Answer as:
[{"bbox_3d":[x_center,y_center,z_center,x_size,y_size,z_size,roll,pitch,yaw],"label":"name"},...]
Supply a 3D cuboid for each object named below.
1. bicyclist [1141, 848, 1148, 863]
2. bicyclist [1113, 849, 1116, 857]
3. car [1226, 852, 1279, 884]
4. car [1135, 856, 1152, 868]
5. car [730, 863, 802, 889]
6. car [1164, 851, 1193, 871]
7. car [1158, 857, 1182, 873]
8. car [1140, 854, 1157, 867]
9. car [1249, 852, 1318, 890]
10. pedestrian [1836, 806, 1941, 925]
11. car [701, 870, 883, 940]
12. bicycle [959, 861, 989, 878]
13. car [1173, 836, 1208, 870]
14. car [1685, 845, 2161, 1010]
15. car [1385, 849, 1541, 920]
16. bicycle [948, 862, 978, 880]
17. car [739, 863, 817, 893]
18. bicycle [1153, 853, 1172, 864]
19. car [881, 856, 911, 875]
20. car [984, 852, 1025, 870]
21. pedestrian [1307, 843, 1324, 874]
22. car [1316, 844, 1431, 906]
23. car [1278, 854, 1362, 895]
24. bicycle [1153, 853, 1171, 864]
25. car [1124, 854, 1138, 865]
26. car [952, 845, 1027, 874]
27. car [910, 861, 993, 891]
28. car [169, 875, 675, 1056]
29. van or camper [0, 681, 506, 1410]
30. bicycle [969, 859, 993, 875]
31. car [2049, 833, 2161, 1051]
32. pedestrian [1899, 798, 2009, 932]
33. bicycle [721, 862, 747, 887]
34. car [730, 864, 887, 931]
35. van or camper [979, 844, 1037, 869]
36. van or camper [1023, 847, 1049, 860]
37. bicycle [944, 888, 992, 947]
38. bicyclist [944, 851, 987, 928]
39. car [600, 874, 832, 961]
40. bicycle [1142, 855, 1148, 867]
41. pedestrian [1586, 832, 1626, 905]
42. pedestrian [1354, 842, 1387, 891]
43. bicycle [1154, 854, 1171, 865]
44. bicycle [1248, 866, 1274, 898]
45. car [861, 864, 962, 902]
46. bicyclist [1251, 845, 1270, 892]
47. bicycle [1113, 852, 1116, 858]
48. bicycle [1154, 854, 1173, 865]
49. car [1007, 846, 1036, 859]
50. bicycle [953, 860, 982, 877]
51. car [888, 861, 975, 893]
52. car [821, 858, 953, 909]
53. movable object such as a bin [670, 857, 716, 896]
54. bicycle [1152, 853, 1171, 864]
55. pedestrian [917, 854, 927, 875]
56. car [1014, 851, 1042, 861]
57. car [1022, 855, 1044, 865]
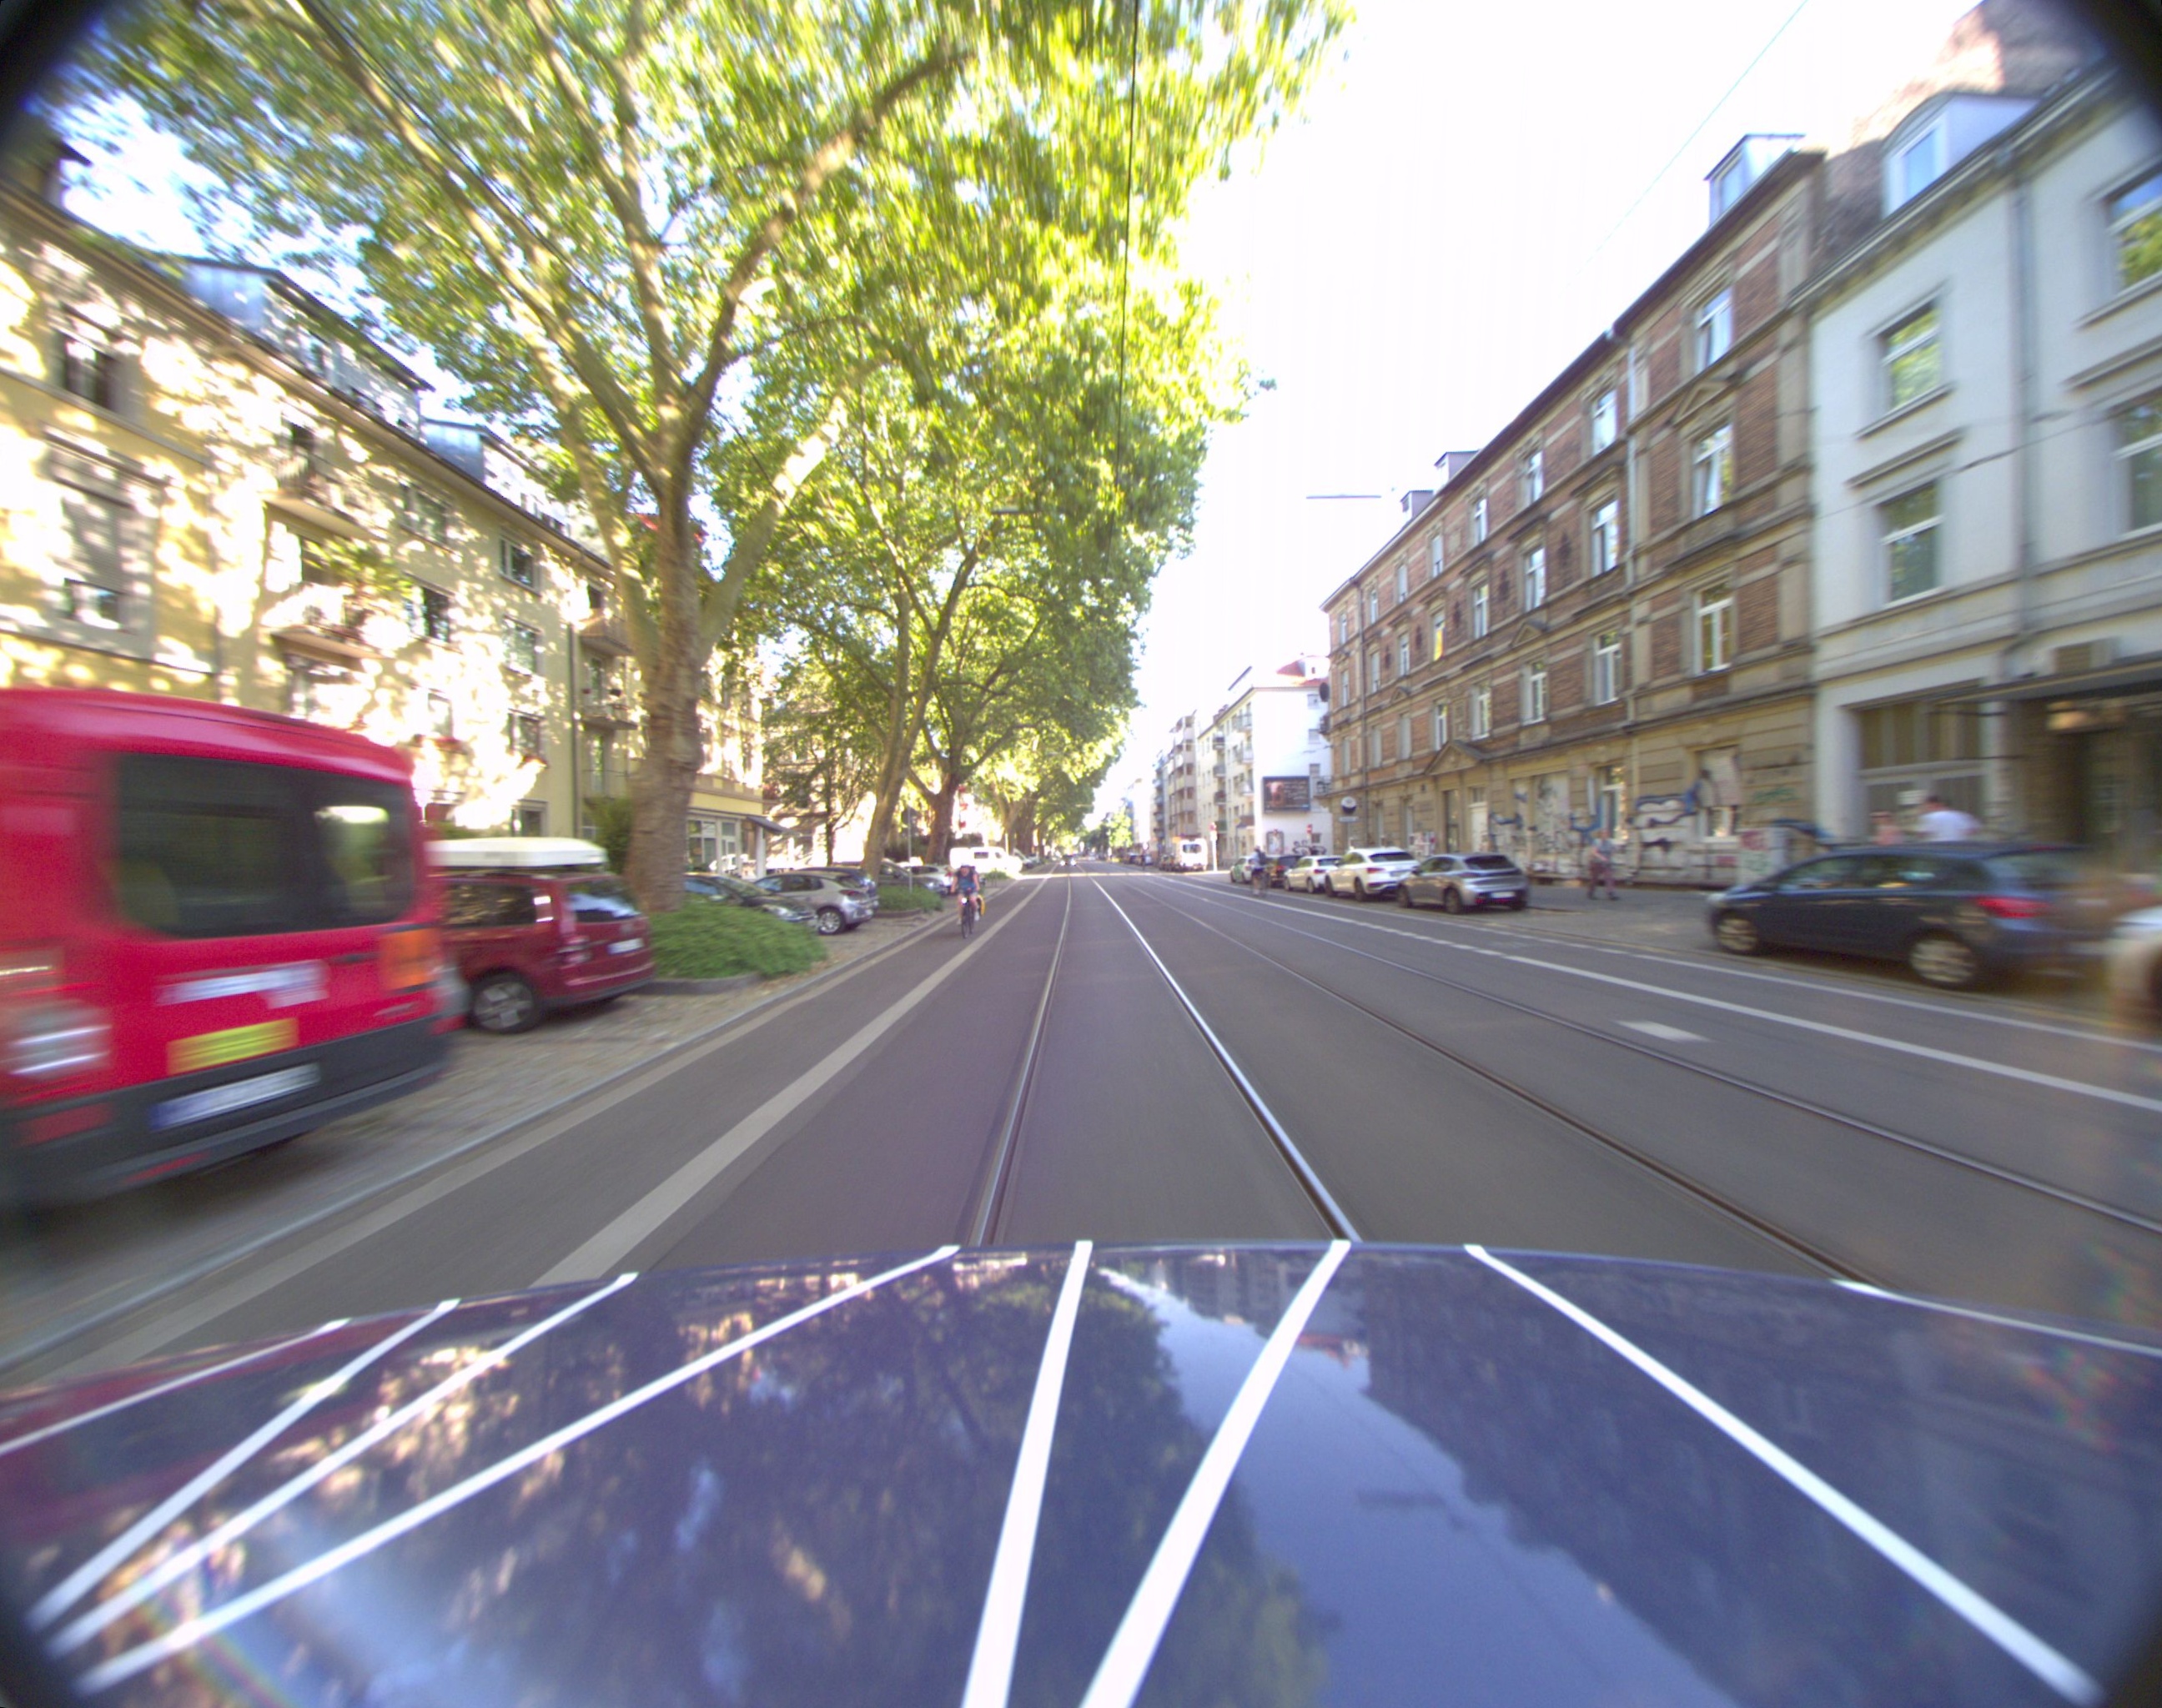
[{"bbox_3d":[6.362,0.132,75.744,0.584,1.473,0.807,-1,1,-1],"label":"bicyclist"},{"bbox_3d":[5.710,-0.235,128.725,0.510,1.386,0.709,0,1,-1],"label":"bicyclist"},{"bbox_3d":[9.033,0.704,40.298,1.745,1.483,4.044,-3,1,-2],"label":"car"},{"bbox_3d":[8.297,1.009,100.965,1.798,1.482,4.239,-2,0,-2],"label":"car"},{"bbox_3d":[-19.133,1.335,46.224,3.687,1.403,1.691,-2,-1,-4],"label":"car"},{"bbox_3d":[8.459,0.607,66.162,1.723,1.622,4.345,-2,0,-2],"label":"car"},{"bbox_3d":[8.389,1.011,71.949,1.722,1.448,4.572,-2,0,1],"label":"car"},{"bbox_3d":[8.457,0.814,95.864,1.694,1.482,4.727,-2,0,0],"label":"car"},{"bbox_3d":[9.243,0.718,35.094,1.745,1.553,4.785,-3,1,-2],"label":"car"},{"bbox_3d":[12.774,0.172,12.045,0.762,1.810,0.829,-2,1,-4],"label":"pedestrian"},{"bbox_3d":[-6.661,1.152,17.789,3.604,1.509,1.693,0,0,-1],"label":"car"},{"bbox_3d":[-7.721,1.141,54.784,2.046,1.172,0.413,-2,2,8],"label":"bicycle"},{"bbox_3d":[8.715,-0.069,60.901,2.070,2.521,5.666,-2,0,1],"label":"car"},{"bbox_3d":[9.481,0.683,9.026,1.558,1.506,3.924,-1,0,2],"label":"car"},{"bbox_3d":[9.425,0.677,19.147,1.667,1.512,4.063,-3,1,-3],"label":"car"},{"bbox_3d":[-8.313,1.223,53.658,2.046,1.172,0.413,-2,2,8],"label":"bicycle"},{"bbox_3d":[-18.665,1.471,46.909,3.996,1.590,1.853,-1,3,3],"label":"car"},{"bbox_3d":[8.838,0.513,82.750,1.972,1.112,0.425,-3,1,6],"label":"bicycle"},{"bbox_3d":[-14.405,0.856,59.261,1.737,1.447,3.569,0,0,-4],"label":"car"},{"bbox_3d":[-7.661,0.693,75.969,3.966,1.646,1.795,-1,1,-4],"label":"car"},{"bbox_3d":[13.723,0.256,44.438,0.658,1.738,0.894,-3,-1,3],"label":"pedestrian"},{"bbox_3d":[9.296,0.602,24.592,1.791,1.713,4.717,-3,1,-1],"label":"car"},{"bbox_3d":[9.248,0.751,29.736,1.704,1.412,3.998,-3,1,-5],"label":"car"},{"bbox_3d":[8.863,0.507,83.238,1.965,1.112,0.440,-3,1,6],"label":"bicycle"},{"bbox_3d":[7.342,0.800,111.984,1.660,1.591,4.201,-3,0,-2],"label":"car"},{"bbox_3d":[-7.639,0.436,63.777,6.006,2.269,2.006,-1,0,1],"label":"car"},{"bbox_3d":[-7.142,1.204,42.102,4.104,1.483,1.832,-2,1,8],"label":"car"},{"bbox_3d":[-6.823,1.100,8.255,3.829,1.639,1.766,0,2,-3],"label":"car"},{"bbox_3d":[-6.580,0.659,3.622,5.831,2.504,2.287,0,0,-3],"label":"van or camper"},{"bbox_3d":[-7.723,1.013,58.582,2.043,1.172,0.414,-1,2,37],"label":"bicycle"},{"bbox_3d":[9.352,0.676,4.232,1.861,1.693,4.762,-1,0,0],"label":"car"},{"bbox_3d":[13.674,0.162,11.928,0.761,2.002,0.830,-2,1,-3],"label":"pedestrian"},{"bbox_3d":[-16.795,0.969,36.764,0.471,1.149,1.746,0,0,0],"label":"bicycle"},{"bbox_3d":[-7.228,1.132,20.377,3.604,1.590,1.540,-1,1,0],"label":"car"},{"bbox_3d":[-7.861,0.248,82.344,6.049,2.476,2.107,-1,1,-2],"label":"van or camper"},{"bbox_3d":[-7.644,-0.089,129.095,4.389,2.097,1.837,-1,1,-4],"label":"van or camper"},{"bbox_3d":[-2.384,1.311,16.255,0.596,0.998,2.511,-4,0,-1],"label":"bicycle"},{"bbox_3d":[-2.467,0.728,16.269,0.616,1.543,0.935,-6,1,-1],"label":"bicyclist"},{"bbox_3d":[-6.974,1.191,14.812,3.680,1.515,1.693,-1,0,-1],"label":"car"},{"bbox_3d":[6.369,0.702,75.776,0.422,1.144,2.231,-1,1,-2],"label":"bicycle"},{"bbox_3d":[12.237,0.333,17.735,0.663,1.656,0.770,-2,1,31],"label":"pedestrian"},{"bbox_3d":[10.972,0.452,28.831,0.686,1.790,1.056,-3,1,-10],"label":"pedestrian"},{"bbox_3d":[8.723,0.588,81.573,1.793,1.112,0.425,-3,1,6],"label":"bicycle"},{"bbox_3d":[6.466,0.997,27.389,0.482,1.079,1.846,-1,0,0],"label":"bicycle"},{"bbox_3d":[-7.214,1.225,32.592,4.040,1.471,1.680,-1,0,-6],"label":"car"},{"bbox_3d":[6.442,0.515,27.266,0.474,1.626,0.800,-1,1,0],"label":"bicyclist"},{"bbox_3d":[5.711,0.139,128.886,0.418,1.012,1.946,0,1,-1],"label":"bicycle"},{"bbox_3d":[8.687,0.609,80.208,1.897,1.032,0.402,-3,1,6],"label":"bicycle"},{"bbox_3d":[-8.368,-0.251,106.882,4.004,1.734,1.805,-2,0,-1],"label":"car"},{"bbox_3d":[-8.258,1.039,55.335,2.046,1.172,0.413,-2,2,8],"label":"bicycle"},{"bbox_3d":[-7.736,1.188,39.478,4.105,1.483,1.682,-2,1,5],"label":"car"},{"bbox_3d":[-6.863,1.039,27.198,4.274,1.709,1.848,1,0,-3],"label":"car"},{"bbox_3d":[-14.493,0.829,28.414,1.170,1.429,1.117,0,1,-1],"label":"movable object such as a bin"},{"bbox_3d":[8.875,0.502,83.743,1.935,1.112,0.440,-3,1,6],"label":"bicycle"},{"bbox_3d":[-12.775,0.850,61.140,0.594,1.642,0.707,-3,2,-26],"label":"pedestrian"},{"bbox_3d":[-8.245,0.375,117.781,4.206,1.473,1.911,-1,1,0],"label":"car"},{"bbox_3d":[-7.996,0.916,126.160,3.572,1.522,1.677,-2,1,-3],"label":"car"}]
